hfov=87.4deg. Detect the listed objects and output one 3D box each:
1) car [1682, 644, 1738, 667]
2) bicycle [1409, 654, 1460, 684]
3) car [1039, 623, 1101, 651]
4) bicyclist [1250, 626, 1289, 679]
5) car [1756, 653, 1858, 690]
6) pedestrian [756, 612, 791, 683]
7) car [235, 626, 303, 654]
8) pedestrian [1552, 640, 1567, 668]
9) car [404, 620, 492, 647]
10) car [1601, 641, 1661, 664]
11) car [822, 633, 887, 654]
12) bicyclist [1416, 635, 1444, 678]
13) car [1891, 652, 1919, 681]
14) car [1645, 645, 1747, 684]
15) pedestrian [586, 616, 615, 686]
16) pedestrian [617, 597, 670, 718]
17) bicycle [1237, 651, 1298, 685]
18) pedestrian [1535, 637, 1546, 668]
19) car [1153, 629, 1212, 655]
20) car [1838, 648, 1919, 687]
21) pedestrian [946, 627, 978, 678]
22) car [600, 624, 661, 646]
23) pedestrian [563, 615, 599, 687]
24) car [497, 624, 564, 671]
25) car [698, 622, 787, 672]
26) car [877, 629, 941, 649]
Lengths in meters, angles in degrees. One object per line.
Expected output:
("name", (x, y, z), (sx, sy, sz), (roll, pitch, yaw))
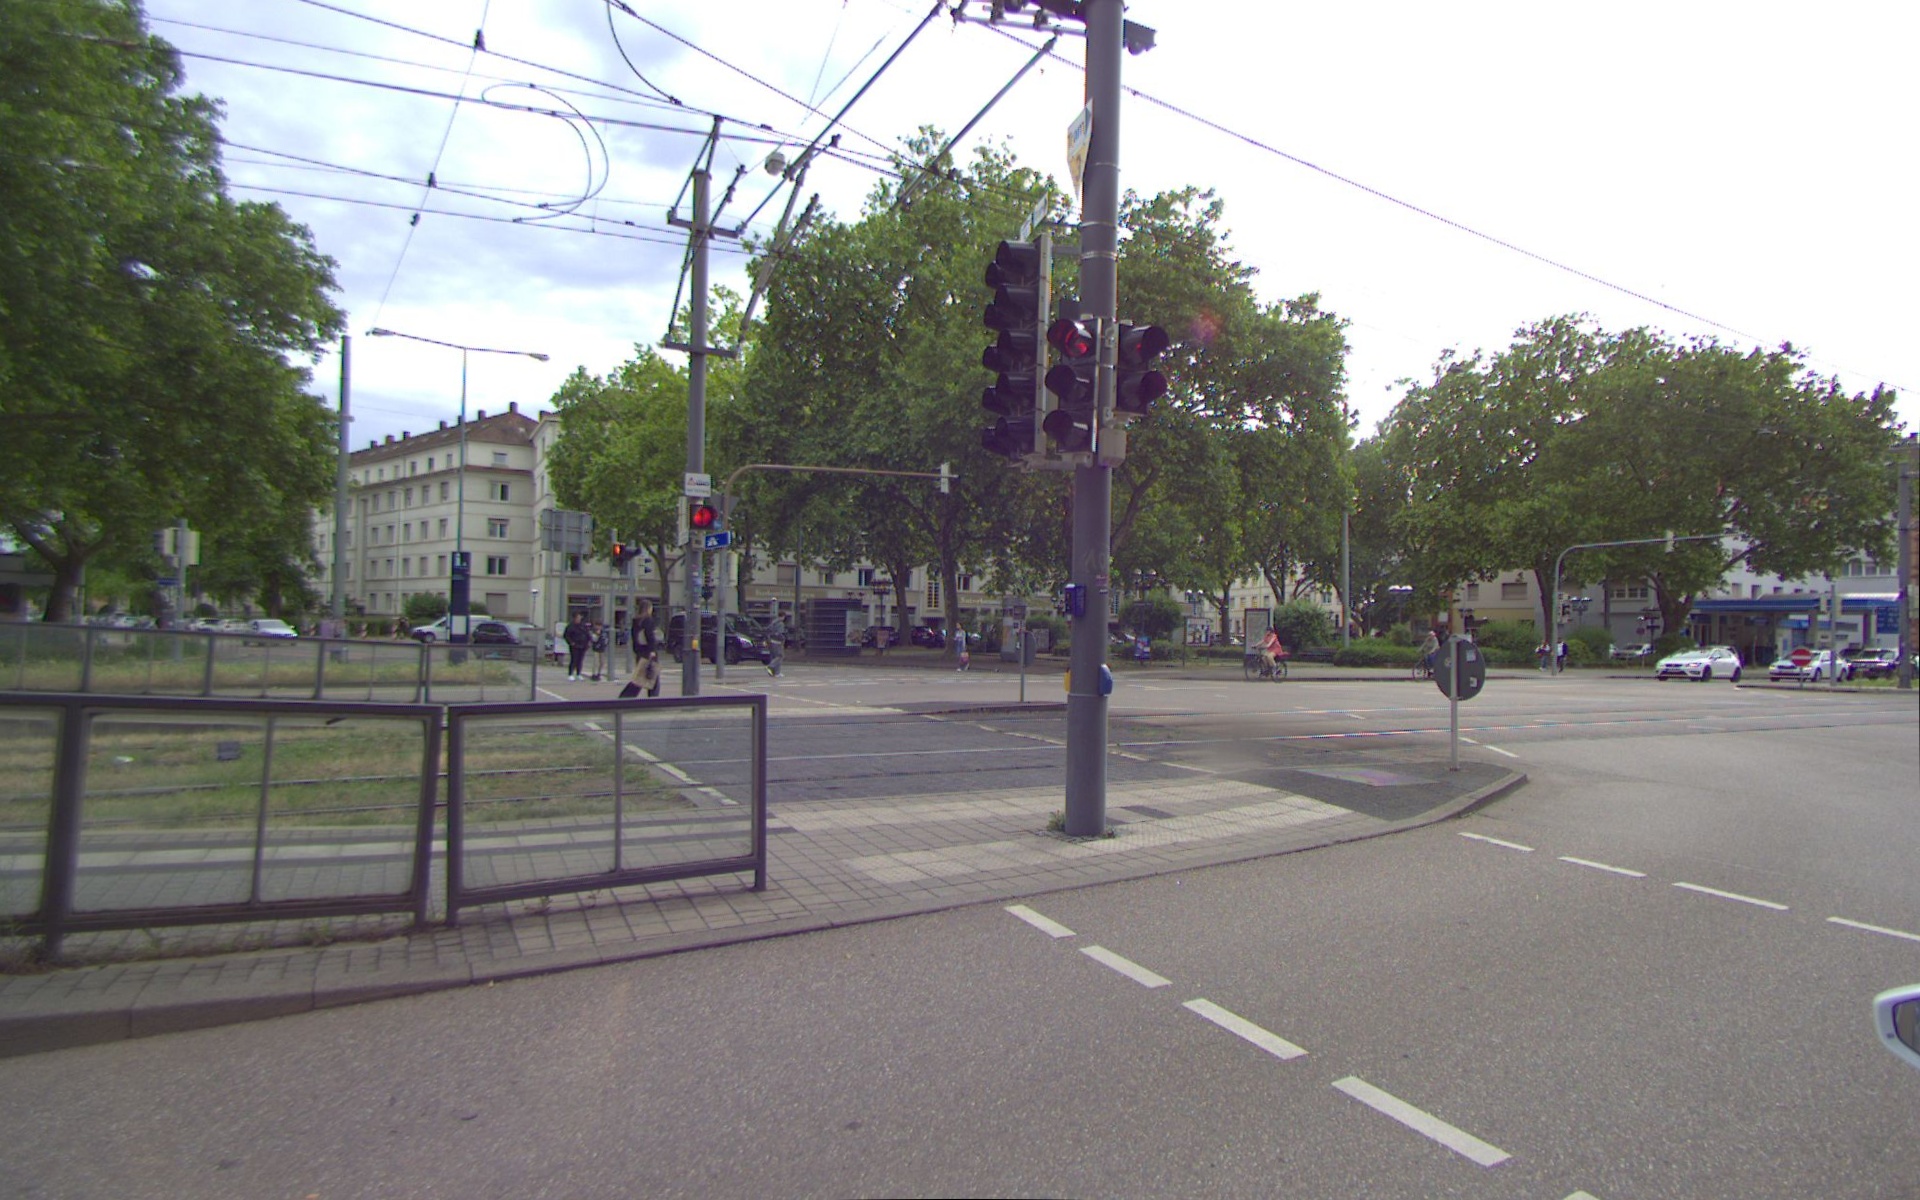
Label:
("car", (48.763, 3.614, 65.278), (3.363, 1.376, 1.695), (2, 0, -29))
("bicycle", (17.529, 2.533, 37.107), (1.969, 1.078, 0.724), (2, -4, -30))
("car", (8.952, 2.998, 81.777), (4.766, 2.129, 2.071), (-1, -2, 44))
("bicyclist", (9.931, 1.674, 32.215), (0.982, 1.659, 0.702), (2, -3, -30))
("car", (39.352, 3.277, 46.619), (5.635, 1.546, 1.832), (2, 0, -30))
("pedestrian", (-5.155, 1.302, 27.754), (0.682, 1.911, 0.682), (2, 0, -36))
("car", (-38.294, 2.199, 55.656), (3.932, 1.439, 1.757), (0, -2, 34))
("pedestrian", (28.433, 2.552, 47.643), (0.465, 1.343, 0.452), (2, -1, -36))
("car", (-32.941, 2.147, 64.661), (4.789, 1.685, 1.979), (2, -2, -38))
("car", (46.980, 3.663, 70.287), (3.953, 1.486, 1.984), (2, -2, -30))
("car", (-7.669, 3.119, 72.683), (4.766, 1.408, 2.071), (-1, -2, 44))
("bicyclist", (17.338, 2.083, 37.061), (0.748, 1.582, 0.580), (2, -3, -30))
("car", (52.042, 3.581, 54.099), (3.844, 1.416, 1.695), (2, 0, -29))
("car", (30.682, 2.683, 41.877), (4.361, 1.467, 1.833), (2, 0, -30))
("pedestrian", (-8.486, 1.200, 23.719), (0.360, 1.633, 0.504), (1, 0, 28))
("pedestrian", (-4.788, 0.851, 15.174), (0.619, 1.773, 0.652), (2, 0, -28))
("bicycle", (9.849, 2.174, 32.141), (1.970, 1.078, 0.723), (2, -4, -31))
("pedestrian", (27.881, 2.528, 48.252), (0.370, 1.498, 0.358), (2, -1, -36))
("car", (19.497, 3.646, 88.112), (4.766, 2.129, 2.071), (-1, -2, 44))
("car", (46.270, 3.380, 50.446), (5.088, 1.807, 1.695), (2, 0, -30))
("pedestrian", (0.069, 1.776, 34.325), (0.748, 1.712, 0.799), (2, -1, -34))
("car", (-24.106, 2.578, 73.421), (3.953, 1.505, 1.788), (2, -2, -30))
("pedestrian", (-8.789, 1.173, 23.297), (0.517, 1.633, 0.523), (1, 0, 28))
("car", (-16.684, 1.867, 38.956), (1.648, 1.741, 3.703), (2, -4, -36))
("car", (-8.049, 1.745, 36.936), (1.894, 1.741, 3.703), (2, -4, -36))
("car", (-3.825, 2.873, 74.721), (4.766, 1.408, 2.071), (-1, -2, 44))
